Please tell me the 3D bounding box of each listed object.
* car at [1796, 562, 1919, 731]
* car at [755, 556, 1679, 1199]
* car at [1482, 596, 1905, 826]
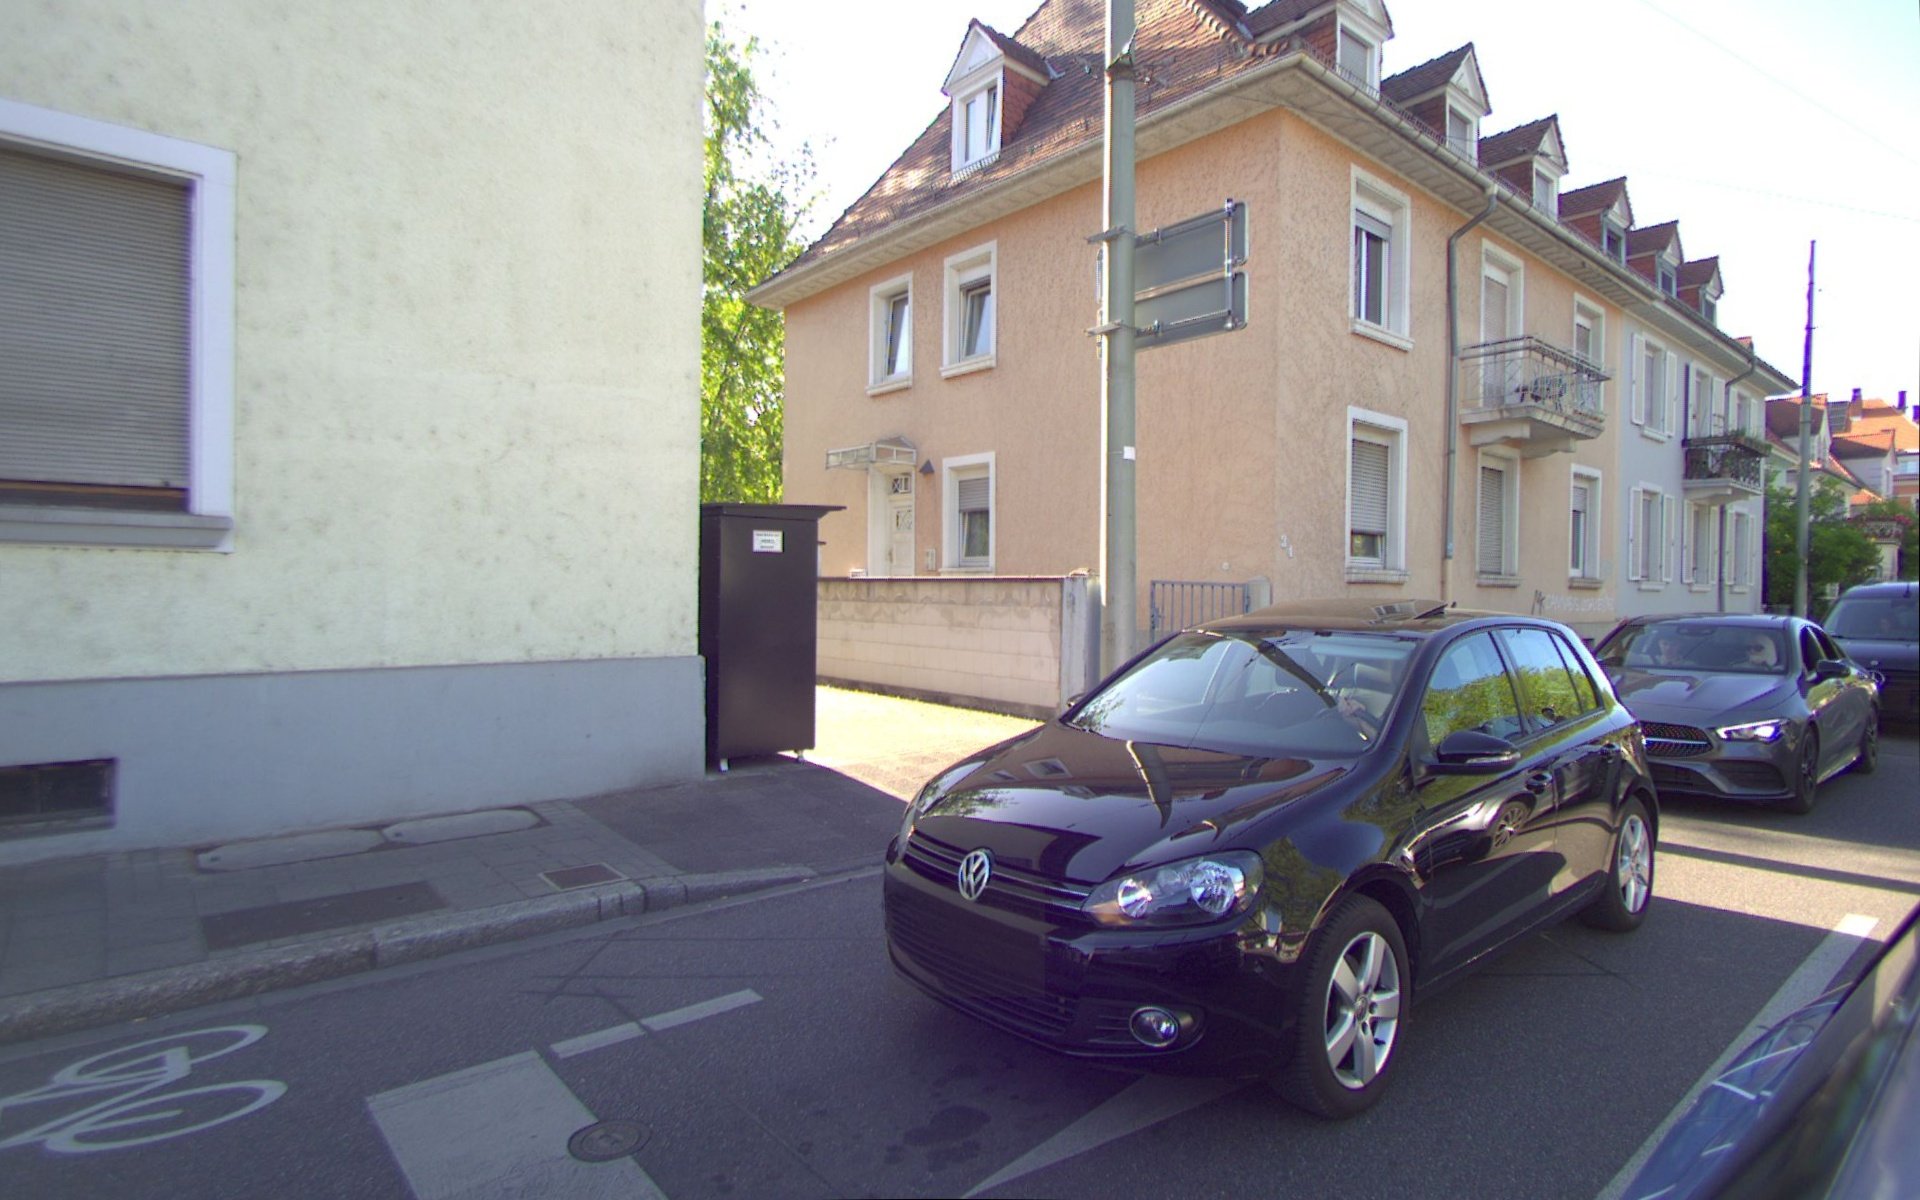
[{"bbox_3d":[12.051,0.477,12.534,4.695,1.827,1.864,-1,0,-41],"label":"car"},{"bbox_3d":[1.361,0.714,4.172,3.979,1.527,1.731,2,-1,-41],"label":"car"},{"bbox_3d":[6.420,0.705,8.661,4.413,1.437,1.911,-1,1,-40],"label":"car"}]
